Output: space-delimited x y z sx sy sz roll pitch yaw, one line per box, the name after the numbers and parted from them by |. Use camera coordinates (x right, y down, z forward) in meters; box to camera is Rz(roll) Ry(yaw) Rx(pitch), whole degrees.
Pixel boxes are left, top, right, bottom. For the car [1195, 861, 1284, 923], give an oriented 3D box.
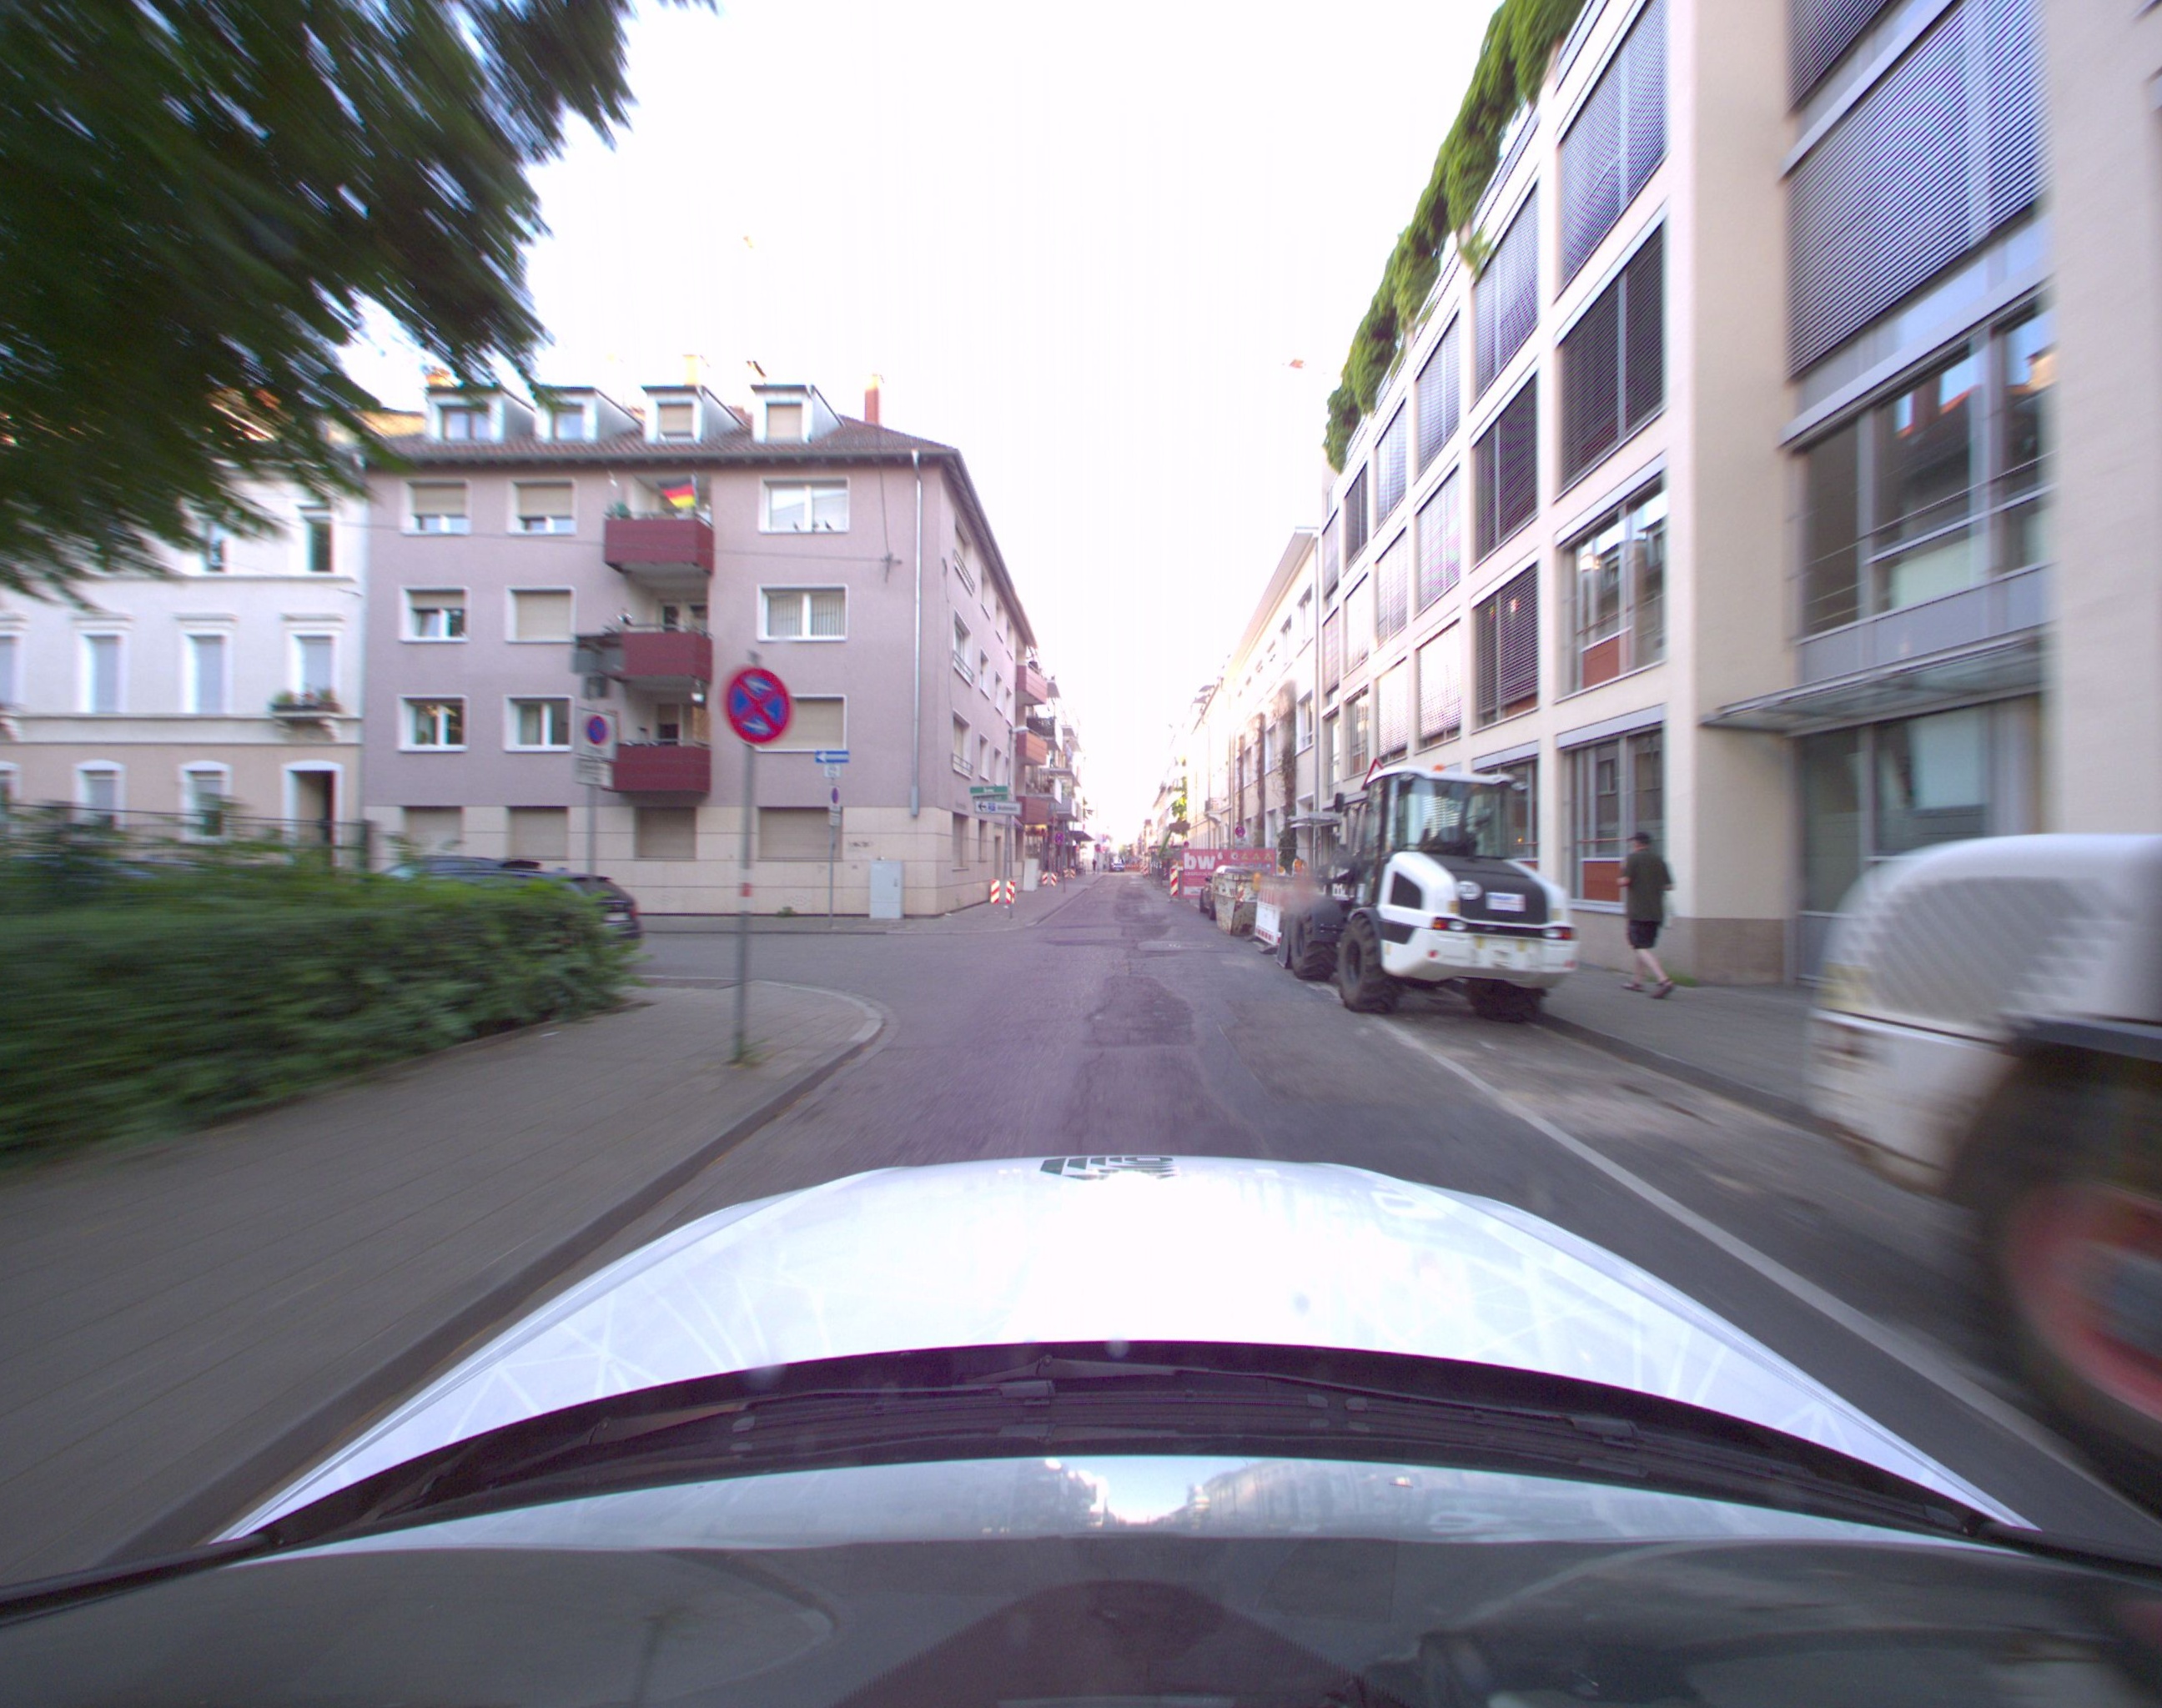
4.310 0.979 22.781 1.780 1.471 4.449 2 0 3 | car

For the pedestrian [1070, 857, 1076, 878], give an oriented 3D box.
-0.714 1.203 71.188 0.529 1.834 0.562 0 -1 -3 | pedestrian

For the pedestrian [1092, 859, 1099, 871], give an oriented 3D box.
1.578 1.229 87.979 0.699 1.275 0.714 0 -1 3 | pedestrian

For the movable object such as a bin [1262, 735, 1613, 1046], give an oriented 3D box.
3.743 0.310 9.972 2.007 2.623 5.756 2 0 4 | movable object such as a bin

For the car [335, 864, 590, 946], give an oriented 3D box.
-12.954 1.058 17.236 3.946 1.635 1.821 0 -3 2 | car

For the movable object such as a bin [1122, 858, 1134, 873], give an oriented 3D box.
8.253 1.975 142.901 2.148 2.664 4.575 0 -1 3 | movable object such as a bin

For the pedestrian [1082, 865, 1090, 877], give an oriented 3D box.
0.507 1.748 83.911 0.699 1.275 0.714 2 -1 3 | pedestrian

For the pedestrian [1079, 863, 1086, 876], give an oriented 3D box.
0.129 1.548 81.610 0.570 1.275 0.714 2 -1 3 | pedestrian

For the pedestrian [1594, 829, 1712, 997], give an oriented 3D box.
6.433 0.641 9.196 0.802 1.819 0.722 -1 -1 2 | pedestrian

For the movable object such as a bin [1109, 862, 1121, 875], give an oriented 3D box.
5.560 2.350 132.885 1.985 2.014 4.004 -1 -1 3 | movable object such as a bin

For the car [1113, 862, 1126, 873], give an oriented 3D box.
5.524 1.894 117.624 1.624 1.550 3.141 -1 -1 0 | car

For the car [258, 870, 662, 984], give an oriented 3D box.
-8.581 0.970 11.533 4.355 1.482 1.727 0 -1 1 | car

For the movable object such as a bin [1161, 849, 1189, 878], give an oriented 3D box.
9.577 0.959 83.691 2.594 2.839 4.453 -1 -1 3 | movable object such as a bin

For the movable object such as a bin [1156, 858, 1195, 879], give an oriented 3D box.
7.997 1.242 69.418 2.725 1.638 7.556 1 -1 2 | movable object such as a bin

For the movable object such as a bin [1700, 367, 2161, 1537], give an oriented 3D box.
3.339 0.215 0.346 2.007 2.623 5.756 2 -1 4 | movable object such as a bin
